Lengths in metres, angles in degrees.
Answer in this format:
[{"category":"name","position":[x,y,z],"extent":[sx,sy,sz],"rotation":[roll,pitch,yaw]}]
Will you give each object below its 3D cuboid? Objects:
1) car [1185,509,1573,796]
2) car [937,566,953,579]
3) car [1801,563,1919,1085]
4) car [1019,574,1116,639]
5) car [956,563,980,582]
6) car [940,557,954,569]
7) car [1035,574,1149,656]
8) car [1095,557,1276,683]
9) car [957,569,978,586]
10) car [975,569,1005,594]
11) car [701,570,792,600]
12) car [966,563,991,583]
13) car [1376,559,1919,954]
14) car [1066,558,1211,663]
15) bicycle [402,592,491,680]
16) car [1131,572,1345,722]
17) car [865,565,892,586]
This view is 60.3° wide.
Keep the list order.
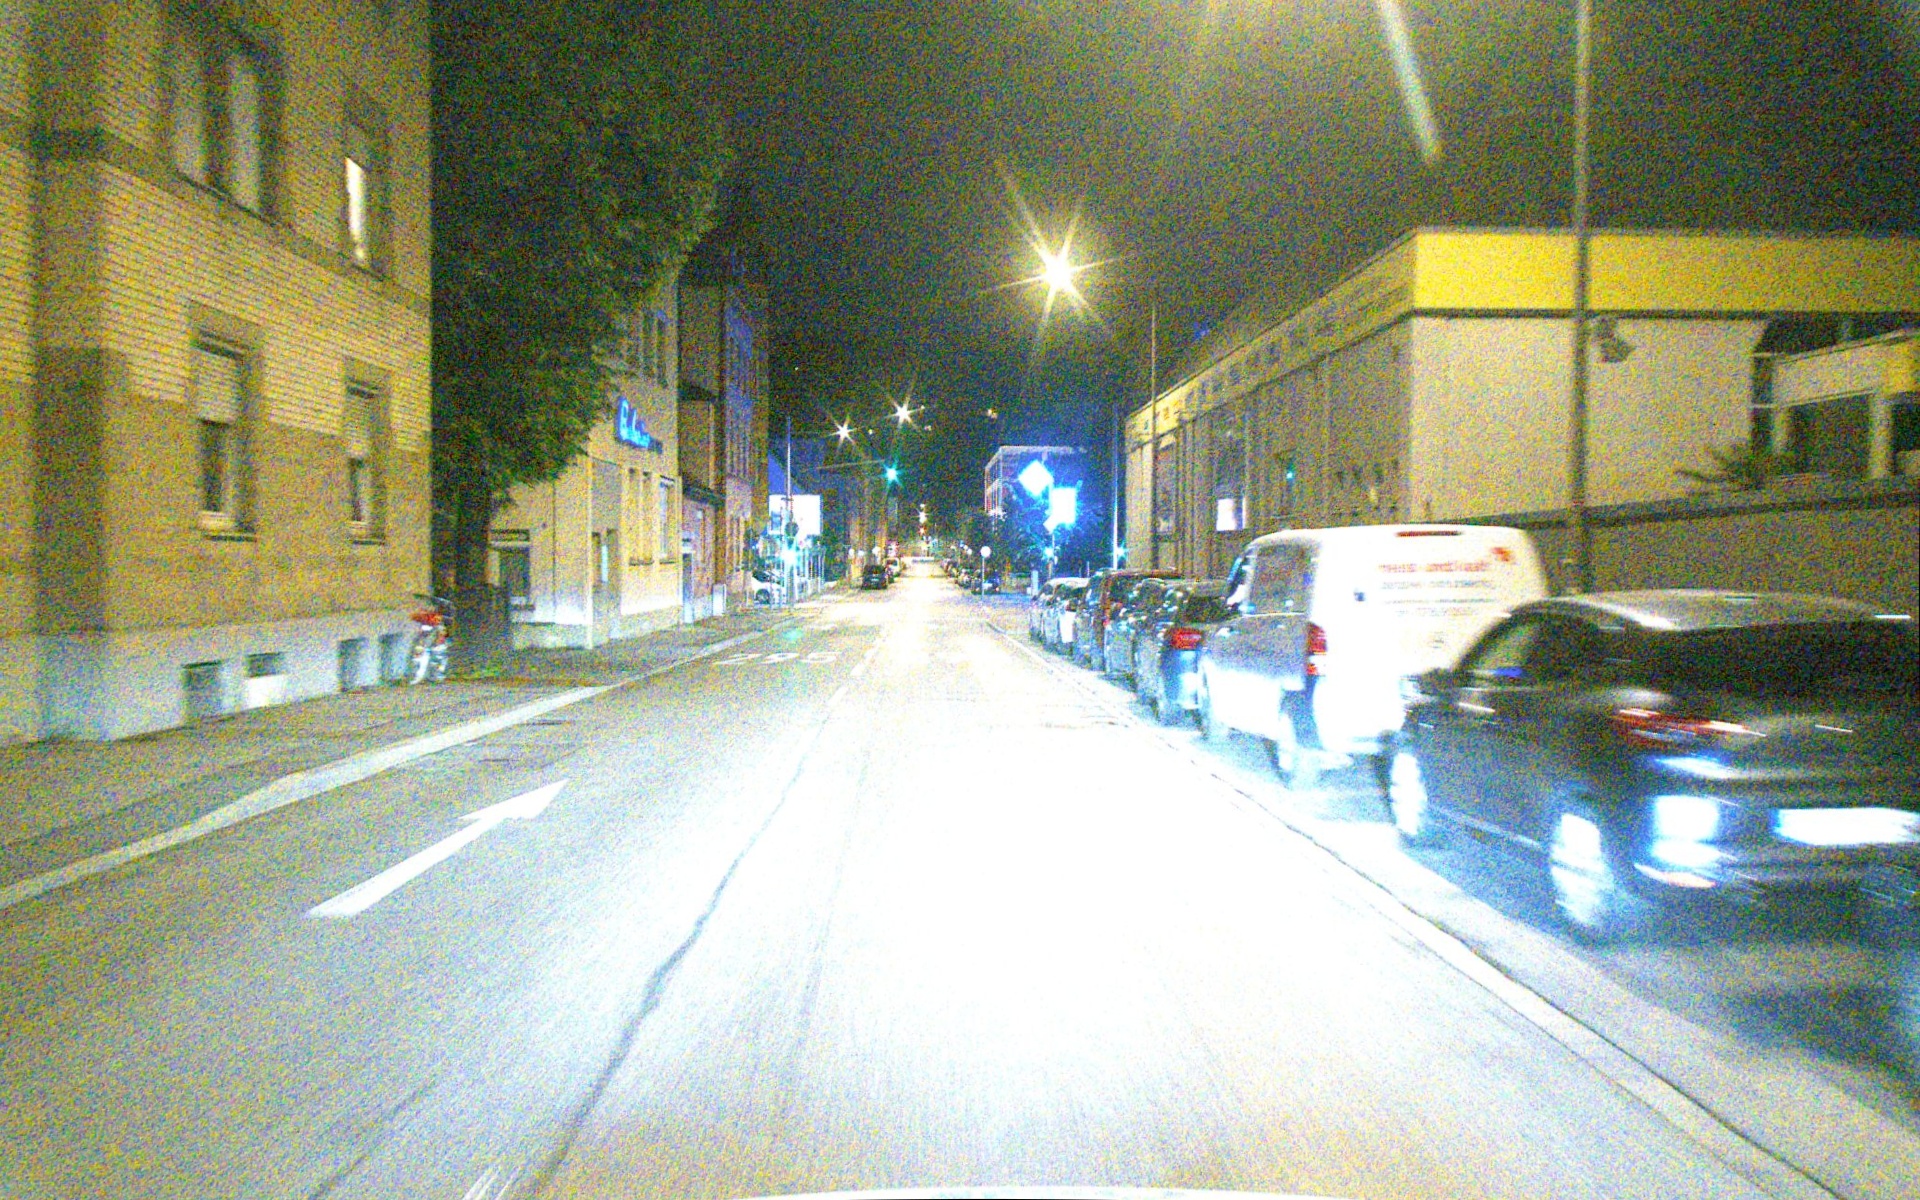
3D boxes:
[{"category":"car","position":[3.212,0.306,13.745],"extent":[1.764,1.907,4.771],"rotation":[-2,1,-3]},{"category":"car","position":[-1.827,-3.450,204.591],"extent":[1.952,1.546,4.000],"rotation":[0,0,0]},{"category":"car","position":[3.542,0.655,3.540],"extent":[1.562,1.492,3.718],"rotation":[0,0,-1]},{"category":"car","position":[2.575,0.136,40.721],"extent":[1.823,1.515,4.543],"rotation":[0,0,-4]},{"category":"car","position":[0.692,-2.298,138.667],"extent":[1.952,1.546,4.000],"rotation":[0,0,0]},{"category":"car","position":[-1.789,-5.128,227.392],"extent":[1.952,1.546,4.000],"rotation":[0,0,0]},{"category":"car","position":[2.665,0.273,34.298],"extent":[1.739,1.571,4.543],"rotation":[0,0,-4]},{"category":"car","position":[3.137,0.207,23.908],"extent":[1.787,1.616,4.627],"rotation":[-1,1,-2]},{"category":"car","position":[0.701,-2.149,156.533],"extent":[1.952,1.546,4.000],"rotation":[0,0,0]},{"category":"car","position":[1.947,-1.242,108.561],"extent":[1.952,1.542,4.001],"rotation":[1,1,0]},{"category":"car","position":[-10.845,-0.759,84.248],"extent":[4.349,1.475,1.999],"rotation":[0,0,-2]},{"category":"car","position":[1.482,-2.163,132.306],"extent":[1.952,1.546,4.000],"rotation":[0,0,0]},{"category":"car","position":[3.358,0.582,8.221],"extent":[1.562,1.492,3.891],"rotation":[0,0,-1]},{"category":"car","position":[2.995,0.116,28.700],"extent":[1.787,1.651,4.455],"rotation":[-1,1,-3]},{"category":"bicycle","position":[-6.493,0.432,20.991],"extent":[0.607,1.070,1.721],"rotation":[0,0,-1]},{"category":"car","position":[2.995,0.436,18.649],"extent":[1.779,1.452,4.190],"rotation":[-1,1,1]},{"category":"car","position":[-6.229,-1.862,126.709],"extent":[1.953,1.528,3.999],"rotation":[0,0,-1]}]
